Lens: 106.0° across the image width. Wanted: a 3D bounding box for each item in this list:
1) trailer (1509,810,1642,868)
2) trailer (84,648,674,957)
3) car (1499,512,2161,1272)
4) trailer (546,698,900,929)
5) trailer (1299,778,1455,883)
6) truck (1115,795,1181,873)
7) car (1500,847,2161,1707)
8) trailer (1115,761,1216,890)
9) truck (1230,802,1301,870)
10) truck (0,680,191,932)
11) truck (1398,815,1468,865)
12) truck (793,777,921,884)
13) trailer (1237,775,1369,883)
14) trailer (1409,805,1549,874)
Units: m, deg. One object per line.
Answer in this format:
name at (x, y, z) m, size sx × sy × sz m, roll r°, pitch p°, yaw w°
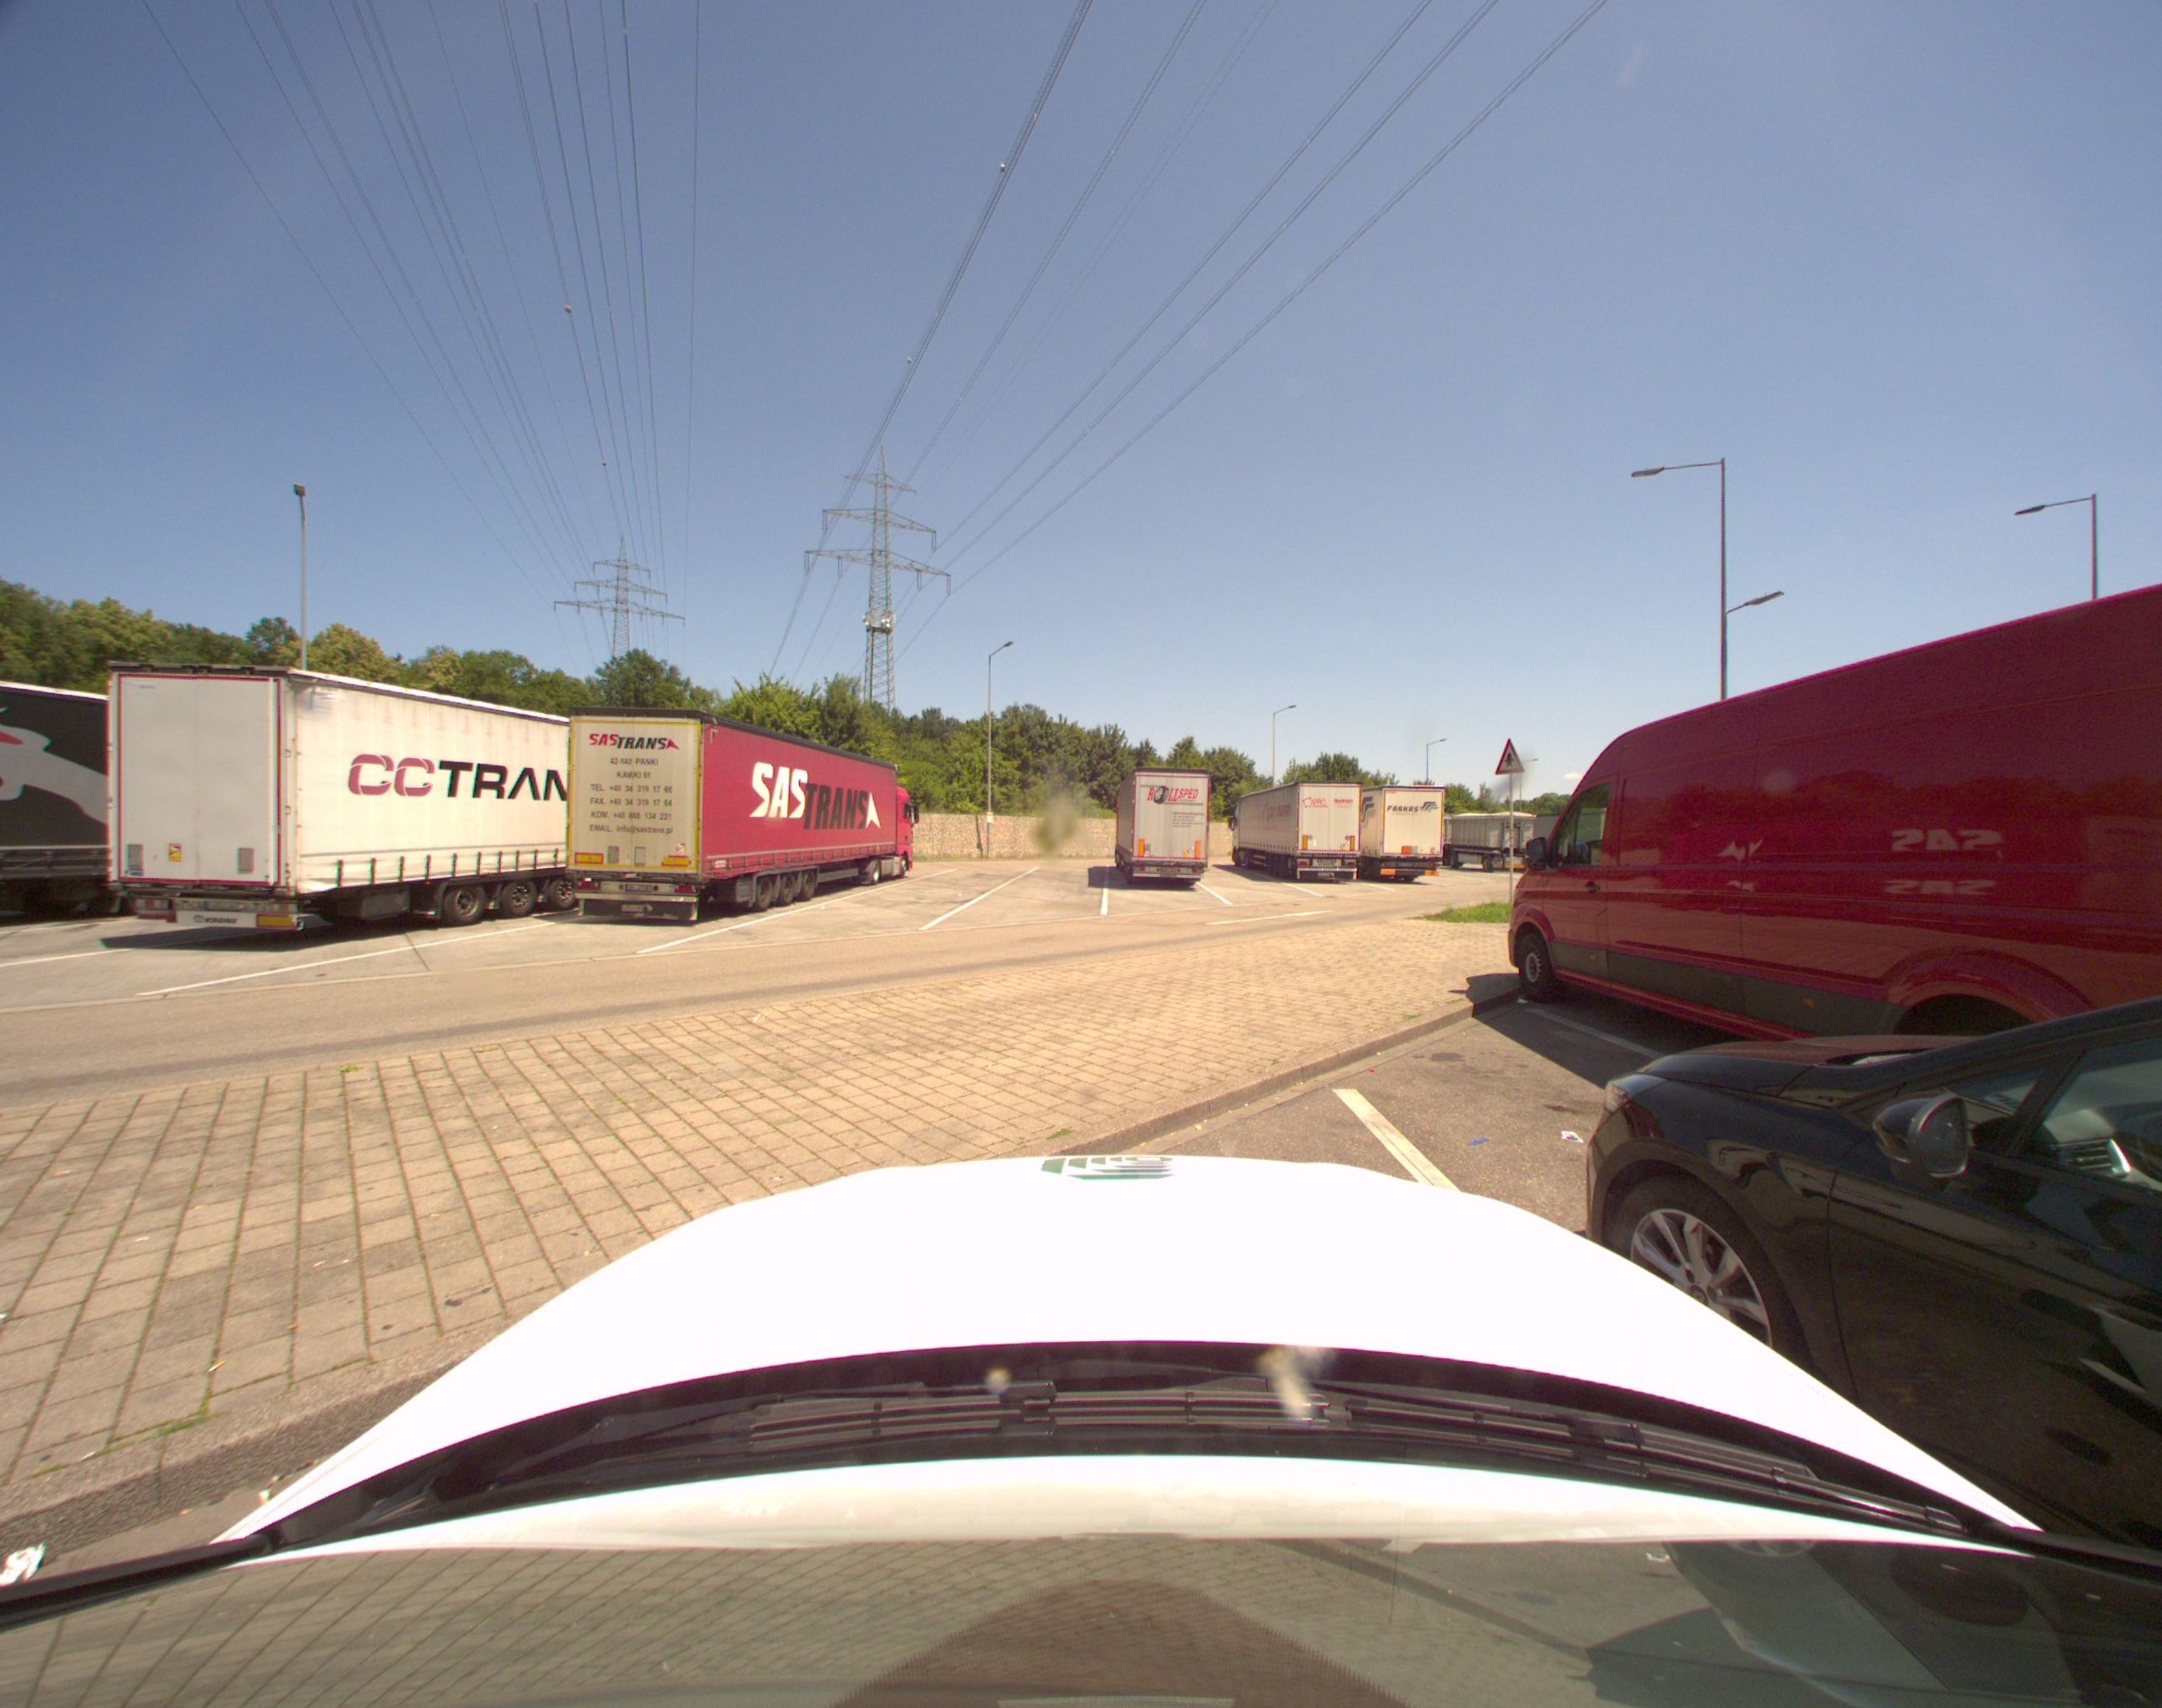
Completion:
trailer at (38.377, -1.231, 64.117) m, size 2.826 × 4.049 × 13.737 m, roll 1°, pitch 2°, yaw 3°
trailer at (-12.202, -0.889, 16.309) m, size 2.718 × 4.209 × 10.175 m, roll 1°, pitch 2°, yaw 2°
car at (5.163, 0.086, 5.470) m, size 2.055 × 2.695 × 6.405 m, roll -1°, pitch 1°, yaw 6°
trailer at (-8.037, -0.952, 21.638) m, size 2.896 × 4.131 × 13.731 m, roll 1°, pitch 2°, yaw 2°
trailer at (13.614, -1.117, 39.267) m, size 2.828 × 4.132 × 13.730 m, roll 1°, pitch 2°, yaw 2°
truck at (3.171, -0.985, 39.889) m, size 2.841 × 3.483 × 5.486 m, roll 1°, pitch 1°, yaw 2°
car at (2.520, 0.753, 1.160) m, size 1.733 × 1.482 × 3.813 m, roll -1°, pitch 1°, yaw -3°
trailer at (3.027, -1.099, 33.277) m, size 2.896 × 4.132 × 13.727 m, roll 1°, pitch 2°, yaw 1°
truck at (10.166, -1.024, 45.414) m, size 2.841 × 3.483 × 5.486 m, roll 1°, pitch 1°, yaw 2°
truck at (-18.578, -0.801, 13.544) m, size 2.692 × 4.016 × 4.326 m, roll 1°, pitch 2°, yaw 2°
truck at (24.923, -1.004, 57.931) m, size 2.840 × 3.364 × 5.488 m, roll 1°, pitch 1°, yaw 3°
truck at (-7.798, -0.833, 29.074) m, size 2.841 × 3.427 × 5.486 m, roll 1°, pitch 1°, yaw 2°
trailer at (9.957, -1.151, 38.603) m, size 2.828 × 4.132 × 13.730 m, roll 1°, pitch 2°, yaw 2°
trailer at (24.534, -0.996, 51.433) m, size 2.826 × 3.717 × 13.737 m, roll 1°, pitch 2°, yaw 3°
